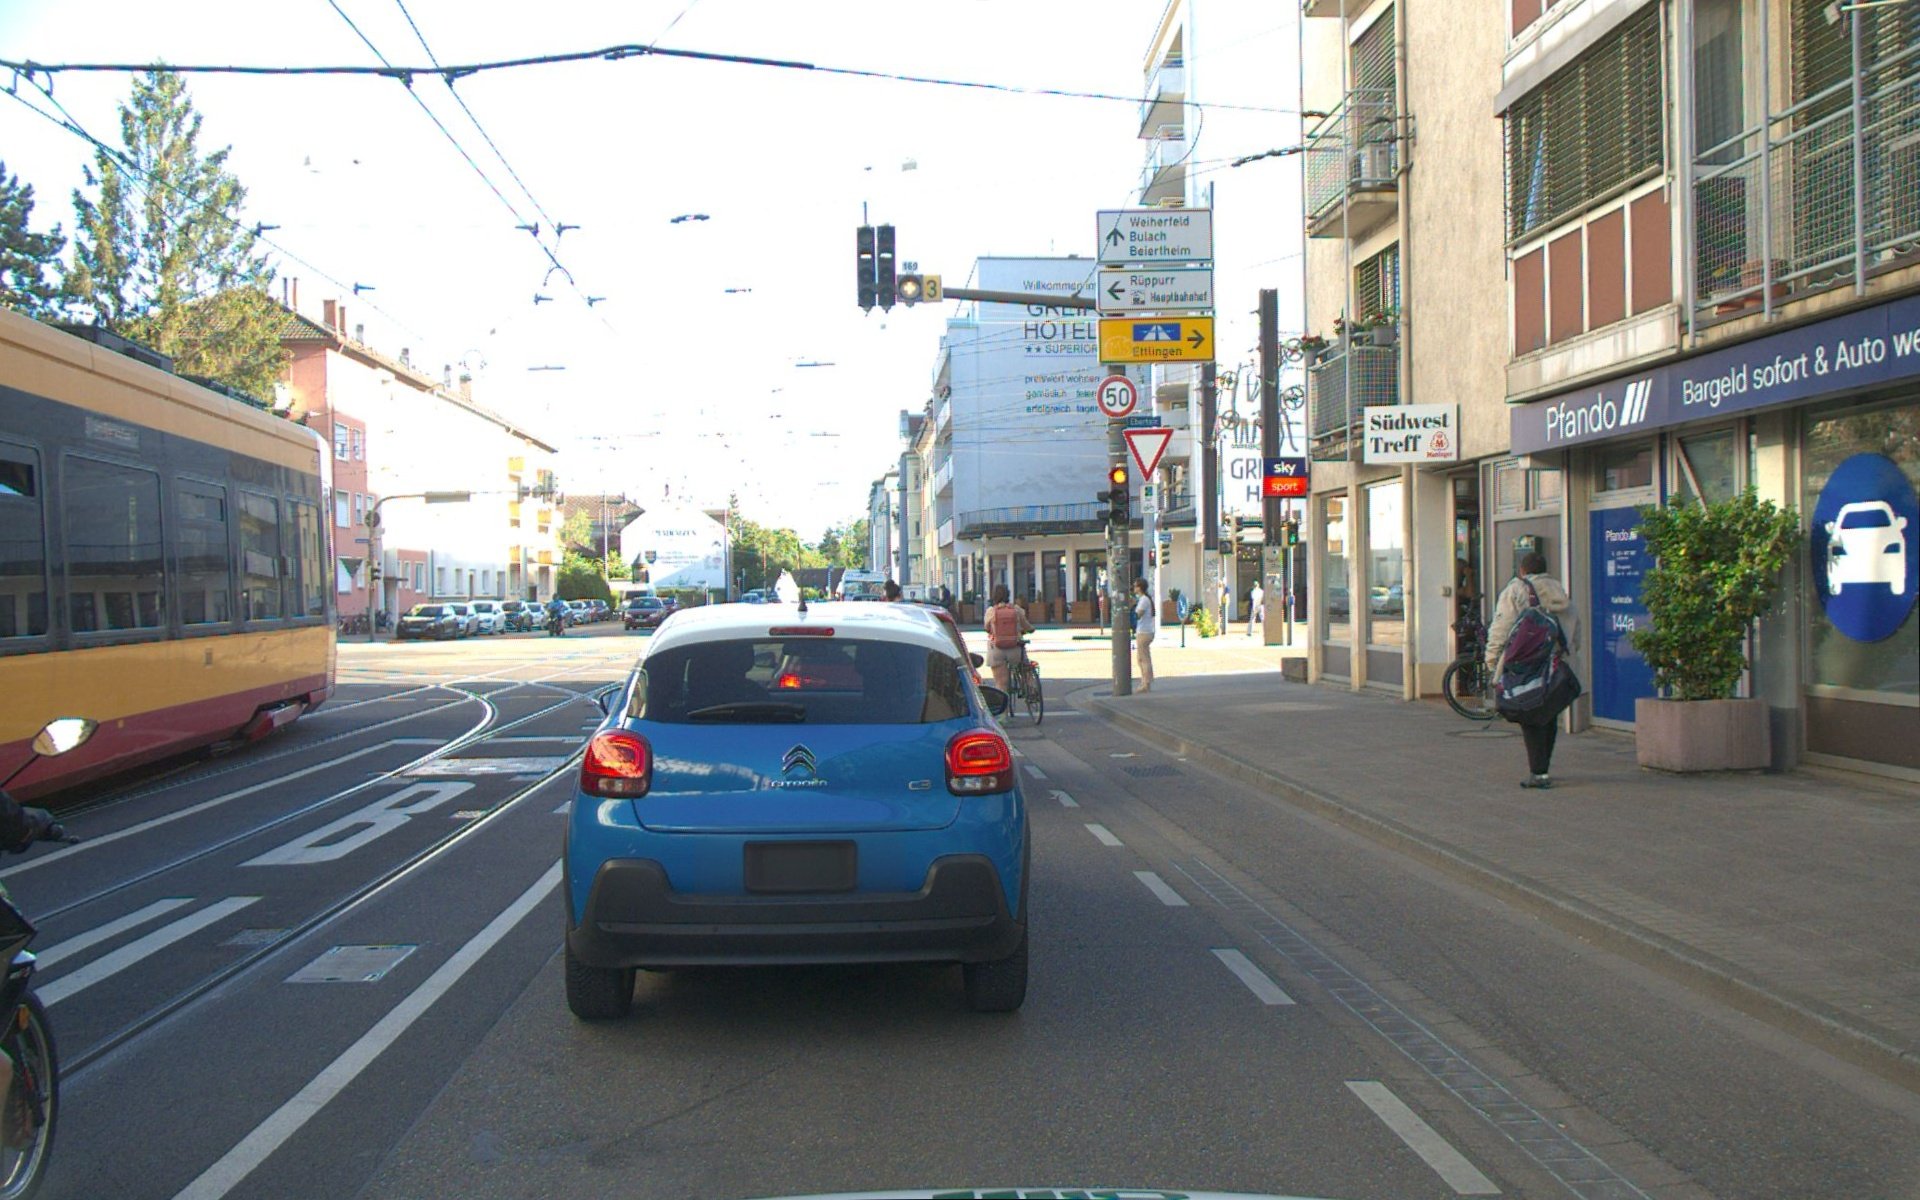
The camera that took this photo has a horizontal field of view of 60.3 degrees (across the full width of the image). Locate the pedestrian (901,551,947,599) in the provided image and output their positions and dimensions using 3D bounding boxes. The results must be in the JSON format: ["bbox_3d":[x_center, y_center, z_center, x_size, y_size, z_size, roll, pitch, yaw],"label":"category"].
[{"bbox_3d":[-1.601,-1.081,73.526,1.953,2.049,3.999,1,0,-1],"label":"pedestrian"}]

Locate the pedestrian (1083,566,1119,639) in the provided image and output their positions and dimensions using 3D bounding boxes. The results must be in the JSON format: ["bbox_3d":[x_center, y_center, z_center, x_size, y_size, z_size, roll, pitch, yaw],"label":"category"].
[{"bbox_3d":[3.999,0.072,46.971,0.907,2.049,0.759,1,-1,-1],"label":"pedestrian"}]

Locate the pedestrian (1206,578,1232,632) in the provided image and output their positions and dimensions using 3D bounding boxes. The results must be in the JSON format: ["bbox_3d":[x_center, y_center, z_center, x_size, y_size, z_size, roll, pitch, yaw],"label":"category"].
[{"bbox_3d":[7.928,0.141,50.608,0.720,1.629,0.749,1,-1,5],"label":"pedestrian"}]

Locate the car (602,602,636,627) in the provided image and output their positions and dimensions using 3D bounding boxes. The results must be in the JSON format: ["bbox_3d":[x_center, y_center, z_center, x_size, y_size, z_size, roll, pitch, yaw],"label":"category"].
[{"bbox_3d":[-23.943,1.009,116.290,1.797,1.716,3.997,1,0,-4],"label":"car"}]

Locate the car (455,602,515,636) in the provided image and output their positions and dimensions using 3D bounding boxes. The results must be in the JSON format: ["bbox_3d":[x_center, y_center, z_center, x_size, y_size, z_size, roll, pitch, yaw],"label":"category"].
[{"bbox_3d":[-22.630,0.884,78.945,1.751,1.537,4.148,1,0,-2],"label":"car"}]

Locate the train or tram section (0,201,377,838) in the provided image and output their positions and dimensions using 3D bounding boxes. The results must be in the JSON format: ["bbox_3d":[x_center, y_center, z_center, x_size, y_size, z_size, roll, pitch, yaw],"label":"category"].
[{"bbox_3d":[-7.381,-0.473,12.682,2.693,3.695,14.238,1,0,-8],"label":"train or tram section"}]

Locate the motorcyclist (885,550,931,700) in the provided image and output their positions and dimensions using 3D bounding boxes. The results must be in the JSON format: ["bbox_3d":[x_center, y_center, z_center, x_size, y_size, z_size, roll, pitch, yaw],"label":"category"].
[{"bbox_3d":[-0.611,0.292,19.608,0.516,1.746,0.717,1,-1,-1],"label":"motorcyclist"}]

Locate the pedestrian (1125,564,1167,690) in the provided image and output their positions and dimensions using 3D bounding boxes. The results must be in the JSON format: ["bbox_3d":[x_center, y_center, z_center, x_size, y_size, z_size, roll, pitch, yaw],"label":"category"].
[{"bbox_3d":[2.720,0.396,24.222,0.507,1.814,0.595,1,-1,-3],"label":"pedestrian"}]

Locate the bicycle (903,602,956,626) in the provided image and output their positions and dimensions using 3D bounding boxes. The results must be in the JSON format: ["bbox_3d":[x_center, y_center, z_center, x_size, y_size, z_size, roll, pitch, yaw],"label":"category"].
[{"bbox_3d":[-1.231,0.574,67.201,2.093,0.917,0.366,1,-1,-10],"label":"bicycle"}]

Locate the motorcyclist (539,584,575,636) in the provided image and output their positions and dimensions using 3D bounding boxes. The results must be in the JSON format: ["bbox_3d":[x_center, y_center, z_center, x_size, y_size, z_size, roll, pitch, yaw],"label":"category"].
[{"bbox_3d":[-16.337,0.397,67.029,1.162,2.049,1.274,-1,0,-4],"label":"motorcyclist"}]

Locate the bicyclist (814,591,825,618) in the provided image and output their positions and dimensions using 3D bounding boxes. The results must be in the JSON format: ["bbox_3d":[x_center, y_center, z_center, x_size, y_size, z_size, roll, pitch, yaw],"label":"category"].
[{"bbox_3d":[-7.694,0.241,90.415,0.550,1.503,0.747,1,-1,-6],"label":"bicyclist"}]

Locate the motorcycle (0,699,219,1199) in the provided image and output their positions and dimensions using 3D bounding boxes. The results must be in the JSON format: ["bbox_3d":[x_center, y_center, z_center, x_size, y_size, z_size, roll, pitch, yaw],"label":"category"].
[{"bbox_3d":[-2.169,0.876,3.262,0.526,1.240,1.980,1,0,-1],"label":"motorcycle"}]

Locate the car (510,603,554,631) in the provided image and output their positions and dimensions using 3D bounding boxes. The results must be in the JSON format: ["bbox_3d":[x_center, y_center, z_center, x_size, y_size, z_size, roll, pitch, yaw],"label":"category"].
[{"bbox_3d":[-23.713,0.918,91.778,1.699,1.524,3.996,1,0,-5],"label":"car"}]

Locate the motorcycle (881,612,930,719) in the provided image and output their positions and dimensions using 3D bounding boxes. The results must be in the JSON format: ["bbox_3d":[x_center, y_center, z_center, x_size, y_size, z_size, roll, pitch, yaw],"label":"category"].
[{"bbox_3d":[-0.619,0.734,19.418,0.515,1.159,2.289,1,0,-1],"label":"motorcycle"}]

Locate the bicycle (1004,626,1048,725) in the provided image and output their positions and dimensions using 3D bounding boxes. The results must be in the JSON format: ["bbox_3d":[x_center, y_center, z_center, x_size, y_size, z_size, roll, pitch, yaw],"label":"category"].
[{"bbox_3d":[0.804,0.907,20.487,0.419,1.142,1.998,1,0,-1],"label":"bicycle"}]

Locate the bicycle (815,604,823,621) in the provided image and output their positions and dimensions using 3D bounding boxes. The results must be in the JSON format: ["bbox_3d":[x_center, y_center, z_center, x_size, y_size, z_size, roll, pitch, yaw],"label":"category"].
[{"bbox_3d":[-7.731,0.662,90.683,0.342,0.919,1.858,1,0,-2],"label":"bicycle"}]

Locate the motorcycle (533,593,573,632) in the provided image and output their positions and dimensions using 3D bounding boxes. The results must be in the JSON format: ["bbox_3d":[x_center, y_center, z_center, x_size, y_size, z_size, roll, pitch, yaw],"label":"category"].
[{"bbox_3d":[-16.370,0.480,66.587,0.905,1.512,3.723,1,0,-4],"label":"motorcycle"}]

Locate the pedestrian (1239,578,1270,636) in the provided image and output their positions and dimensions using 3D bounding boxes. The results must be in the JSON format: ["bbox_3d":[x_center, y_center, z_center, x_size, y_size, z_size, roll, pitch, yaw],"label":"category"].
[{"bbox_3d":[8.679,0.196,48.731,0.736,1.686,0.883,1,-1,0],"label":"pedestrian"}]

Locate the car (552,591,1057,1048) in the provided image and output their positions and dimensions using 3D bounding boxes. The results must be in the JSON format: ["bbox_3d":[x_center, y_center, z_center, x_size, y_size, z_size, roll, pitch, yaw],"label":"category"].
[{"bbox_3d":[-0.530,0.725,7.158,1.620,1.469,3.522,1,0,-1],"label":"car"}]

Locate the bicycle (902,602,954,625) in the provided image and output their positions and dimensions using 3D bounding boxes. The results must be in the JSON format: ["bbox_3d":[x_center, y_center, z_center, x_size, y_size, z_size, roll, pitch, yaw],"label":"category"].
[{"bbox_3d":[-1.303,0.543,67.639,2.093,0.917,0.366,1,-1,-10],"label":"bicycle"}]

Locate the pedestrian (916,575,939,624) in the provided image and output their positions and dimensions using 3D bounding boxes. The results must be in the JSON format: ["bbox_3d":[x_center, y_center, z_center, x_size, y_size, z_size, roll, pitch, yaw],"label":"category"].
[{"bbox_3d":[-1.361,-0.017,69.181,0.625,2.049,0.715,1,-1,-37],"label":"pedestrian"}]

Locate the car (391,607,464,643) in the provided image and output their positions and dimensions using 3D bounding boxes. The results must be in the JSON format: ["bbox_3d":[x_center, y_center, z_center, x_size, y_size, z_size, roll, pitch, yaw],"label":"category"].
[{"bbox_3d":[-21.998,1.010,68.449,1.757,1.446,3.994,1,0,-2],"label":"car"}]

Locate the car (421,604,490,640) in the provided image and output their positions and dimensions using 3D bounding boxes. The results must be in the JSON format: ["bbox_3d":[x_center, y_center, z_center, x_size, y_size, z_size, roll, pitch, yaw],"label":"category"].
[{"bbox_3d":[-22.311,0.955,73.262,1.778,1.524,4.299,1,0,-1],"label":"car"}]

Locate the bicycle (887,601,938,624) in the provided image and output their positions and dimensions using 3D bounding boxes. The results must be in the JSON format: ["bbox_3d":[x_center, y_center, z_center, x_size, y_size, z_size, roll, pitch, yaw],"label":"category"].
[{"bbox_3d":[-1.966,0.504,68.312,2.093,0.917,0.366,1,-1,-10],"label":"bicycle"}]

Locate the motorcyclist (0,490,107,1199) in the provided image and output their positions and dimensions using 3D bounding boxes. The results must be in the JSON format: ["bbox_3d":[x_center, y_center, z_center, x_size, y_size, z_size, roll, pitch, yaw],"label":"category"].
[{"bbox_3d":[-2.160,0.560,3.040,0.843,1.531,0.598,1,-1,-1],"label":"motorcyclist"}]

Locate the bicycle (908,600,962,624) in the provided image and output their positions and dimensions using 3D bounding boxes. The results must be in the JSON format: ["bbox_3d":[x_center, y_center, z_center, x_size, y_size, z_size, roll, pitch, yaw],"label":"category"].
[{"bbox_3d":[-1.001,0.485,65.875,2.093,0.917,0.366,1,-1,-10],"label":"bicycle"}]

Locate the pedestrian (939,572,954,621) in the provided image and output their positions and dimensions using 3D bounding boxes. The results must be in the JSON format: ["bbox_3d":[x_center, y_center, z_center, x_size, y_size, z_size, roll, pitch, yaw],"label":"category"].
[{"bbox_3d":[-0.569,-0.157,70.266,0.565,2.049,0.625,1,-1,-3],"label":"pedestrian"}]

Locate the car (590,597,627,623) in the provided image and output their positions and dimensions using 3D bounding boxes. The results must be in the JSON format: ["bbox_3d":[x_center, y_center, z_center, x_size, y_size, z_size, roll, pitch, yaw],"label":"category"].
[{"bbox_3d":[-23.557,0.680,110.975,1.845,1.716,3.997,1,0,-4],"label":"car"}]

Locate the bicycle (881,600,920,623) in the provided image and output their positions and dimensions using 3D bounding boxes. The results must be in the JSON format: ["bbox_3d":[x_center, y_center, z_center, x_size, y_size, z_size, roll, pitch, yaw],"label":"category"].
[{"bbox_3d":[-2.498,0.486,69.275,1.751,0.917,0.365,1,-1,34],"label":"bicycle"}]

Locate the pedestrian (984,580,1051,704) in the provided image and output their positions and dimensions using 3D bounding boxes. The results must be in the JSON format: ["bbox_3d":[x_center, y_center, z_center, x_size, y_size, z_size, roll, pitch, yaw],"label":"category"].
[{"bbox_3d":[0.695,0.509,20.231,0.761,1.486,0.681,1,-1,-1],"label":"pedestrian"}]

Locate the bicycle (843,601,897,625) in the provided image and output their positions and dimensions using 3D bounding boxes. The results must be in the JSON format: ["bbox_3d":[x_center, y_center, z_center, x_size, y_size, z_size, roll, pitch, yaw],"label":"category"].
[{"bbox_3d":[-3.595,0.529,66.132,2.093,0.917,0.366,1,-1,-10],"label":"bicycle"}]

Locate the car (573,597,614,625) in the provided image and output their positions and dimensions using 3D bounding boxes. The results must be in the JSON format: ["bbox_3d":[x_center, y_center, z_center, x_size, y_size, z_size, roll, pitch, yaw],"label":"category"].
[{"bbox_3d":[-23.477,0.696,105.996,1.944,1.716,3.997,1,0,-4],"label":"car"}]

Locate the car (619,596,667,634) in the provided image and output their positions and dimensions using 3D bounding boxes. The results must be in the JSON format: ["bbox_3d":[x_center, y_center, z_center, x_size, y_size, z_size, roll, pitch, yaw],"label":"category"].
[{"bbox_3d":[-14.563,0.689,76.178,1.740,1.695,3.853,1,0,-4],"label":"car"}]

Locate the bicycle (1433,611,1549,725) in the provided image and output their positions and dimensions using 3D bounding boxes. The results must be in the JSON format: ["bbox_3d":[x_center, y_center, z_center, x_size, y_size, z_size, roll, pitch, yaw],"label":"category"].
[{"bbox_3d":[5.045,0.620,15.810,0.531,1.016,1.705,1,0,-1],"label":"bicycle"}]

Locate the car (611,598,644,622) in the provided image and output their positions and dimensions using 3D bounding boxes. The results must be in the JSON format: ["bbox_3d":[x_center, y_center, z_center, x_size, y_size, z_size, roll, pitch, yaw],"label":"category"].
[{"bbox_3d":[-24.305,0.709,120.934,1.809,1.716,3.871,1,0,-4],"label":"car"}]

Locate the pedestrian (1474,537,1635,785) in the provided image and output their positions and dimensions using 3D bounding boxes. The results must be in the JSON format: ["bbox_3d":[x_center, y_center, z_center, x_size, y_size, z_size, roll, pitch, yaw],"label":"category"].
[{"bbox_3d":[4.031,0.401,11.263,0.808,1.620,0.751,1,-1,-1],"label":"pedestrian"}]

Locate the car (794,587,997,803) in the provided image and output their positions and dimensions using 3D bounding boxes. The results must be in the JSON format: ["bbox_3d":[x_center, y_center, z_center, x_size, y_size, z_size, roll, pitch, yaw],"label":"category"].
[{"bbox_3d":[-0.474,0.676,13.097,1.395,1.493,2.923,-1,0,-1],"label":"car"}]

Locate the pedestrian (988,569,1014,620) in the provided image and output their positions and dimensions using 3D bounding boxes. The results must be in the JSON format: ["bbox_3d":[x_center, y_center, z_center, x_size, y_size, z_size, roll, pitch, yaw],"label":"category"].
[{"bbox_3d":[1.668,-0.212,67.373,0.706,2.049,0.747,1,-1,-44],"label":"pedestrian"}]

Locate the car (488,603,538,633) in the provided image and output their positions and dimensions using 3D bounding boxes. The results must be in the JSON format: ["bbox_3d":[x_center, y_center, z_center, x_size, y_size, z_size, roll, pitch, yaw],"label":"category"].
[{"bbox_3d":[-23.141,0.919,85.734,1.750,1.524,3.997,1,0,-4],"label":"car"}]
